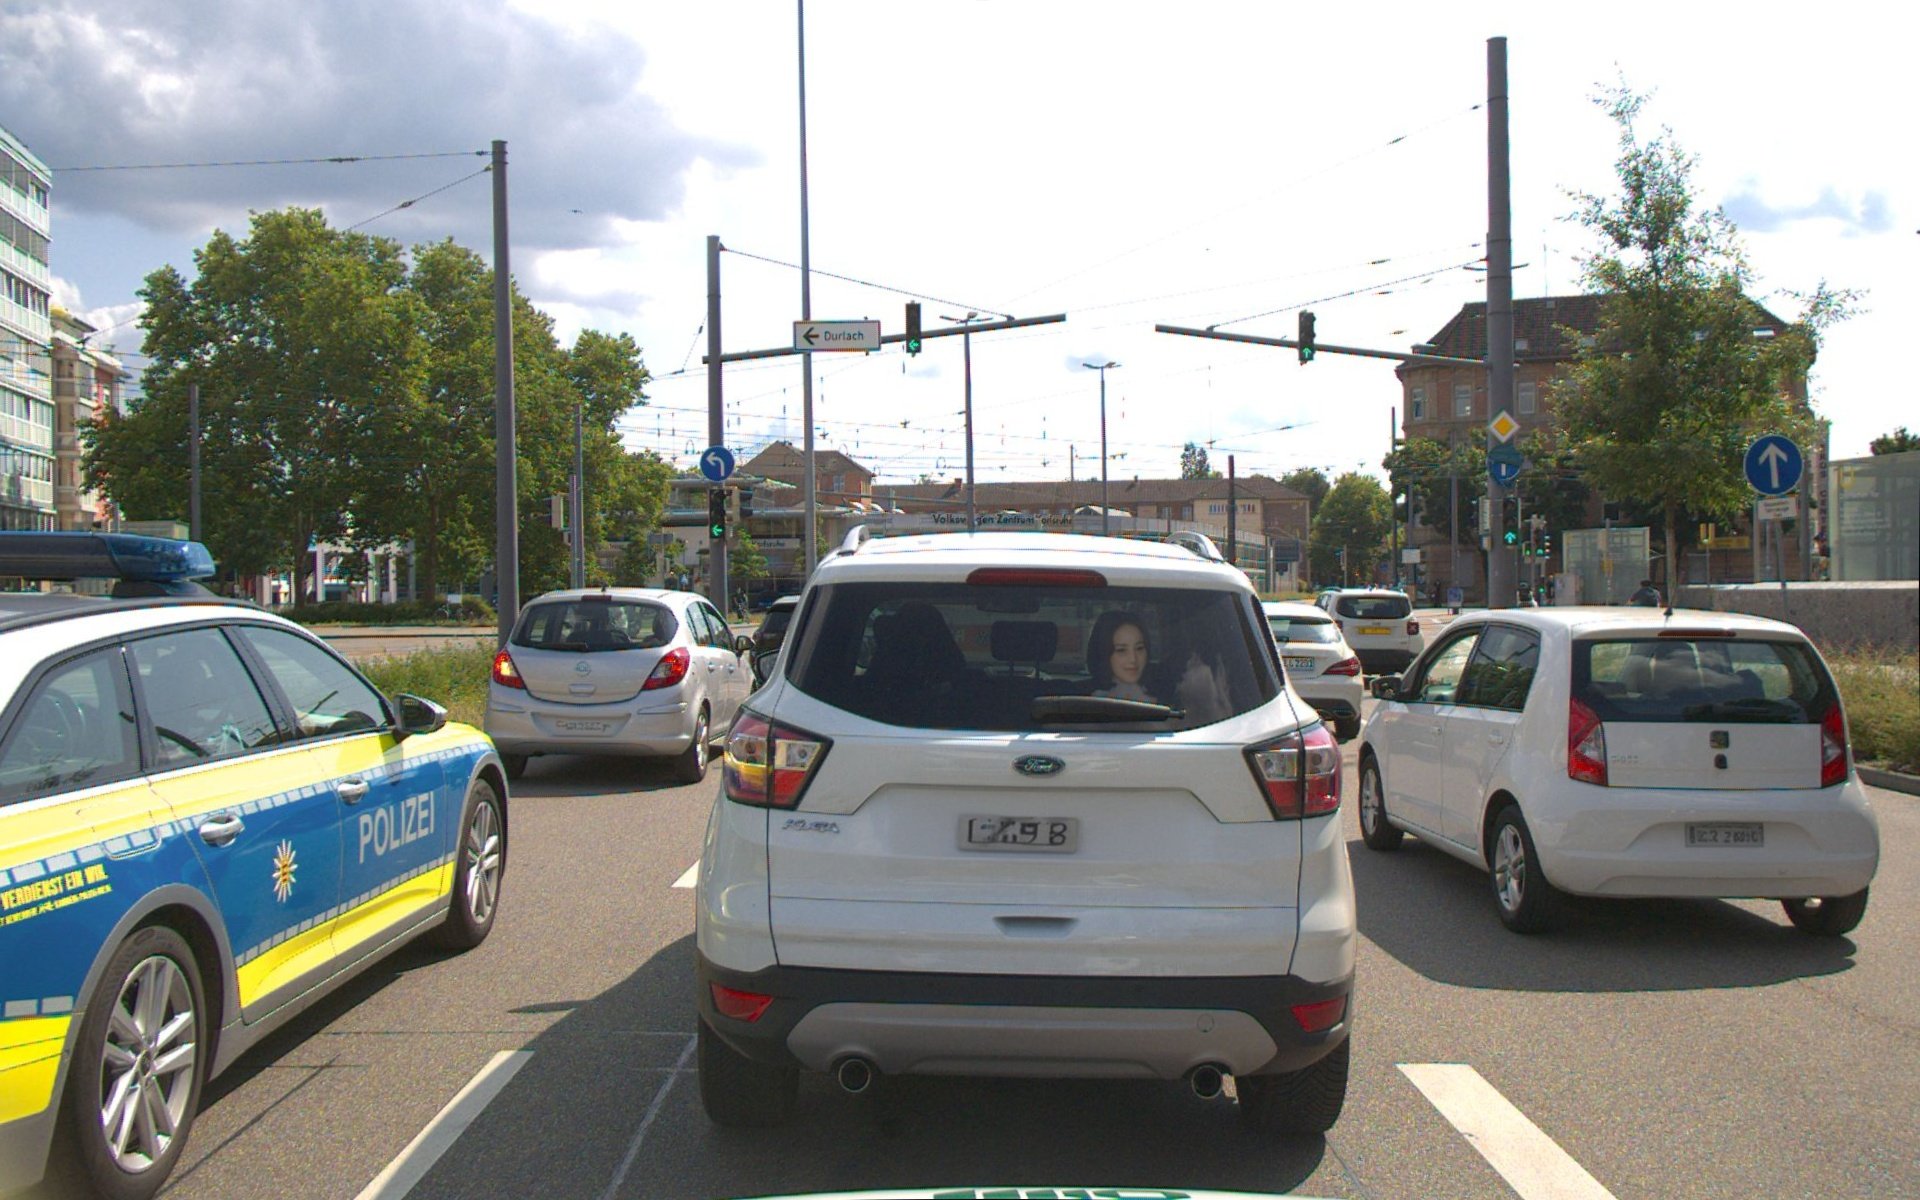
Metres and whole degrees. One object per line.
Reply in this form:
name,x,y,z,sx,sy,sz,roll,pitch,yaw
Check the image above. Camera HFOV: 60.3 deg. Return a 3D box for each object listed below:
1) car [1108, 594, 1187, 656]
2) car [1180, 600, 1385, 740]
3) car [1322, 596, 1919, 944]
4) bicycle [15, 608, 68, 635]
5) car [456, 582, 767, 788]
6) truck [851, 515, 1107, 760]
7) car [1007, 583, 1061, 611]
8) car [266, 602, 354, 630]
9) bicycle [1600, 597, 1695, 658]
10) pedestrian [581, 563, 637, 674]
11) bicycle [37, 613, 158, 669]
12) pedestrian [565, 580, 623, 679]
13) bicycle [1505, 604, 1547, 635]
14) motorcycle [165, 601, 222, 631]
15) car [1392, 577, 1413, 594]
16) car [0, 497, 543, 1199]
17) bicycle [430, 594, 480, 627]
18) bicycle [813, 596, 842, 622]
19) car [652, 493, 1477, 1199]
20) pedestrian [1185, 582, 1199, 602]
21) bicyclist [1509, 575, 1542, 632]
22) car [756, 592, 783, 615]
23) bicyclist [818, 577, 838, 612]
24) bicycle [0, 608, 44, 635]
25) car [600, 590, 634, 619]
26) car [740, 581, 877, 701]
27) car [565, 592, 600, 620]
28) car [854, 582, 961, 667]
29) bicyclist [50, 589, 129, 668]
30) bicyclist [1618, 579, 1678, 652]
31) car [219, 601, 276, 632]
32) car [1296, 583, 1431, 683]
car,4.551,0.574,40.230,1.810,1.443,3.681,0,0,6
car,3.580,0.726,18.960,1.811,1.443,3.680,0,0,3
car,3.288,0.717,9.067,1.616,1.446,3.999,0,0,-2
bicycle,-40.699,0.961,73.306,1.914,1.167,0.792,-1,0,-19
car,-2.810,0.625,14.229,1.810,1.500,4.000,-1,0,0
truck,0.279,0.332,18.069,2.290,2.193,5.853,1,0,2
car,4.234,-0.192,93.754,1.860,1.487,3.969,-2,0,21
car,-33.806,0.850,86.070,3.907,1.350,1.632,-2,-1,-3
bicycle,12.027,0.468,29.013,0.829,0.987,1.961,-3,0,1
pedestrian,-6.279,0.335,29.621,0.830,1.950,0.692,-1,-1,-1
bicycle,-19.876,0.941,38.159,2.248,1.209,0.994,-1,0,-4
pedestrian,-6.366,0.507,28.809,0.830,1.676,0.692,-1,-1,-1
bicycle,14.915,0.505,43.589,0.572,0.789,1.621,-1,0,1
motorcycle,-33.141,0.691,71.494,2.165,1.259,0.906,-1,1,17
car,45.429,-1.515,169.730,1.798,1.681,4.001,0,0,19
car,-2.773,0.601,5.045,1.841,1.595,4.615,-1,0,0
bicycle,-22.782,0.471,74.581,2.133,1.439,0.809,0,1,-16
bicycle,-6.412,0.447,80.273,0.743,1.213,2.152,-2,0,14
car,0.317,0.616,5.588,1.789,1.693,3.957,0,0,3
pedestrian,20.297,-0.692,144.593,0.860,1.767,0.873,1,-1,35
bicyclist,14.894,0.082,43.576,0.595,1.476,0.774,-1,0,2
car,-13.978,0.281,121.776,1.783,1.560,3.913,-2,-1,-5
bicyclist,-6.412,-0.271,80.329,0.743,1.712,0.761,-2,0,14
bicycle,-40.945,0.937,71.999,1.776,1.167,0.792,-1,0,-19
car,-25.534,0.356,123.250,1.955,2.049,4.226,-2,-1,-5
car,-2.156,0.541,24.572,1.727,1.595,4.525,-1,0,-2
car,-28.140,0.483,123.465,1.929,1.971,4.226,-2,-1,-5
car,-1.090,0.461,33.417,1.999,1.606,4.537,0,0,-3
bicyclist,-20.063,0.645,38.144,1.271,1.761,0.994,-1,0,-3
bicyclist,12.020,0.261,28.910,0.622,1.241,0.924,-3,1,0
car,-35.669,0.848,82.900,1.872,1.438,3.987,-1,-1,-12
car,7.200,0.558,29.848,1.797,1.681,4.002,0,0,5
